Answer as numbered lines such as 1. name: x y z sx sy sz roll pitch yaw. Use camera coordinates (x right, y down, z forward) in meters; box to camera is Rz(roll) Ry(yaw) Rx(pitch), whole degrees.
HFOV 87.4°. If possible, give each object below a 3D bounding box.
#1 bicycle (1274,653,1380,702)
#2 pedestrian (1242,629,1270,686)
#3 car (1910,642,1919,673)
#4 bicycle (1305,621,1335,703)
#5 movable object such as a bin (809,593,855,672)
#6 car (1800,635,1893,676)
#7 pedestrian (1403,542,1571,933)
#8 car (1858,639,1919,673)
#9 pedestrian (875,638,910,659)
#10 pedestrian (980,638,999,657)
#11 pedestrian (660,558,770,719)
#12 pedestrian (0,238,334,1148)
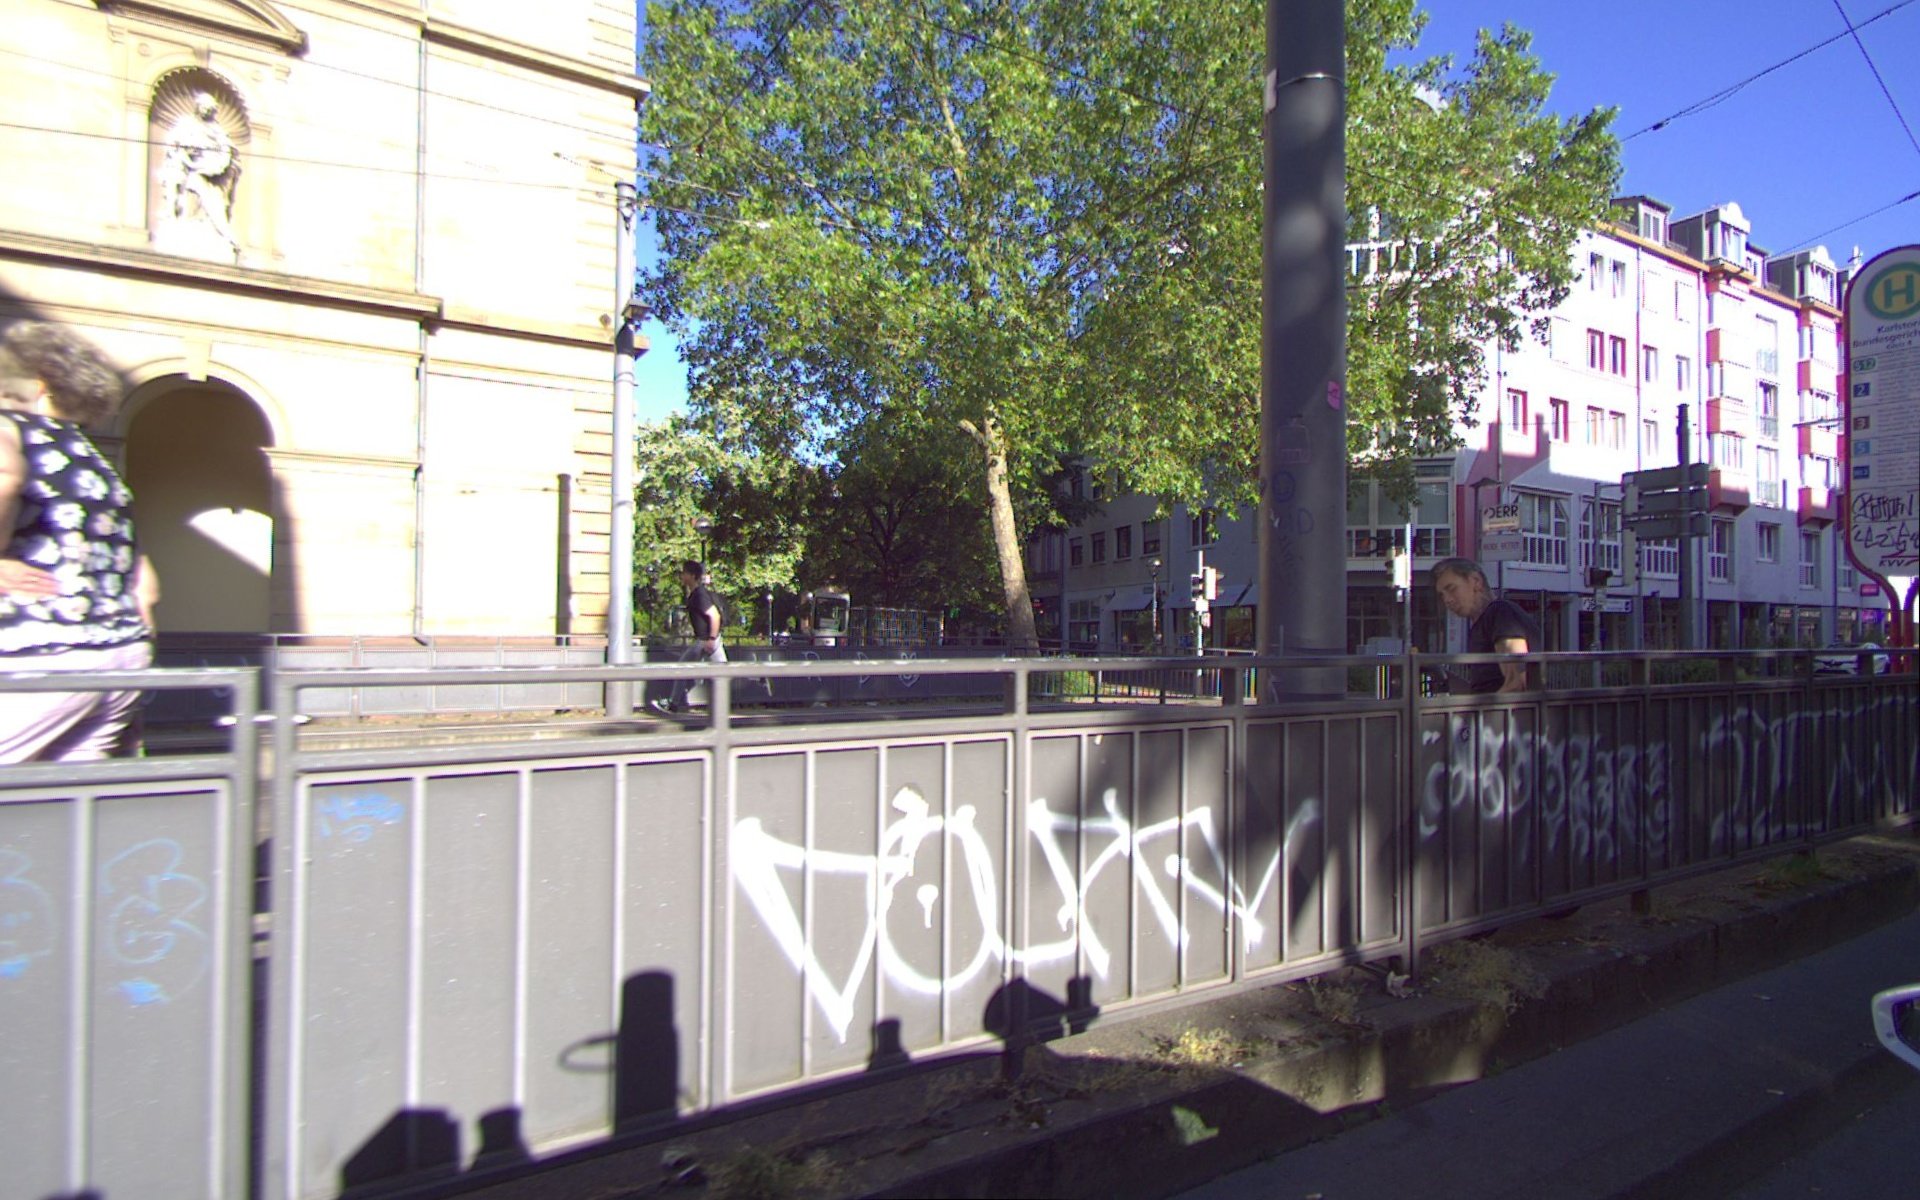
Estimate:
1. bicycle: 8.012 1.677 21.960 2.129 0.979 0.647 0 -2 25
2. pedestrian: 8.651 1.674 29.380 0.678 1.658 0.675 0 -2 27
3. car: 47.625 2.779 48.438 4.164 1.494 1.741 2 -2 -34
4. bicycle: 7.874 1.340 21.964 0.572 1.738 0.647 0 -1 25
5. movable object such as a bin: -3.481 0.880 27.458 1.153 2.040 2.648 1 -2 -7
6. car: 37.321 2.316 42.285 4.324 1.635 1.906 2 -2 -34
7. pedestrian: 1.929 0.481 3.719 0.347 1.347 0.481 0 -2 -1
8. car: 43.230 2.538 45.966 4.772 1.477 1.892 2 -2 -32
9. pedestrian: -3.305 2.369 49.302 1.257 1.008 1.239 2 -2 -33
10. pedestrian: 1.651 2.635 55.824 0.635 1.057 0.827 -1 -2 45
11. pedestrian: -2.698 0.421 11.058 1.021 1.690 0.693 1 -2 -30
12. pedestrian: -2.012 0.188 2.297 0.578 1.757 0.765 0 -1 24
